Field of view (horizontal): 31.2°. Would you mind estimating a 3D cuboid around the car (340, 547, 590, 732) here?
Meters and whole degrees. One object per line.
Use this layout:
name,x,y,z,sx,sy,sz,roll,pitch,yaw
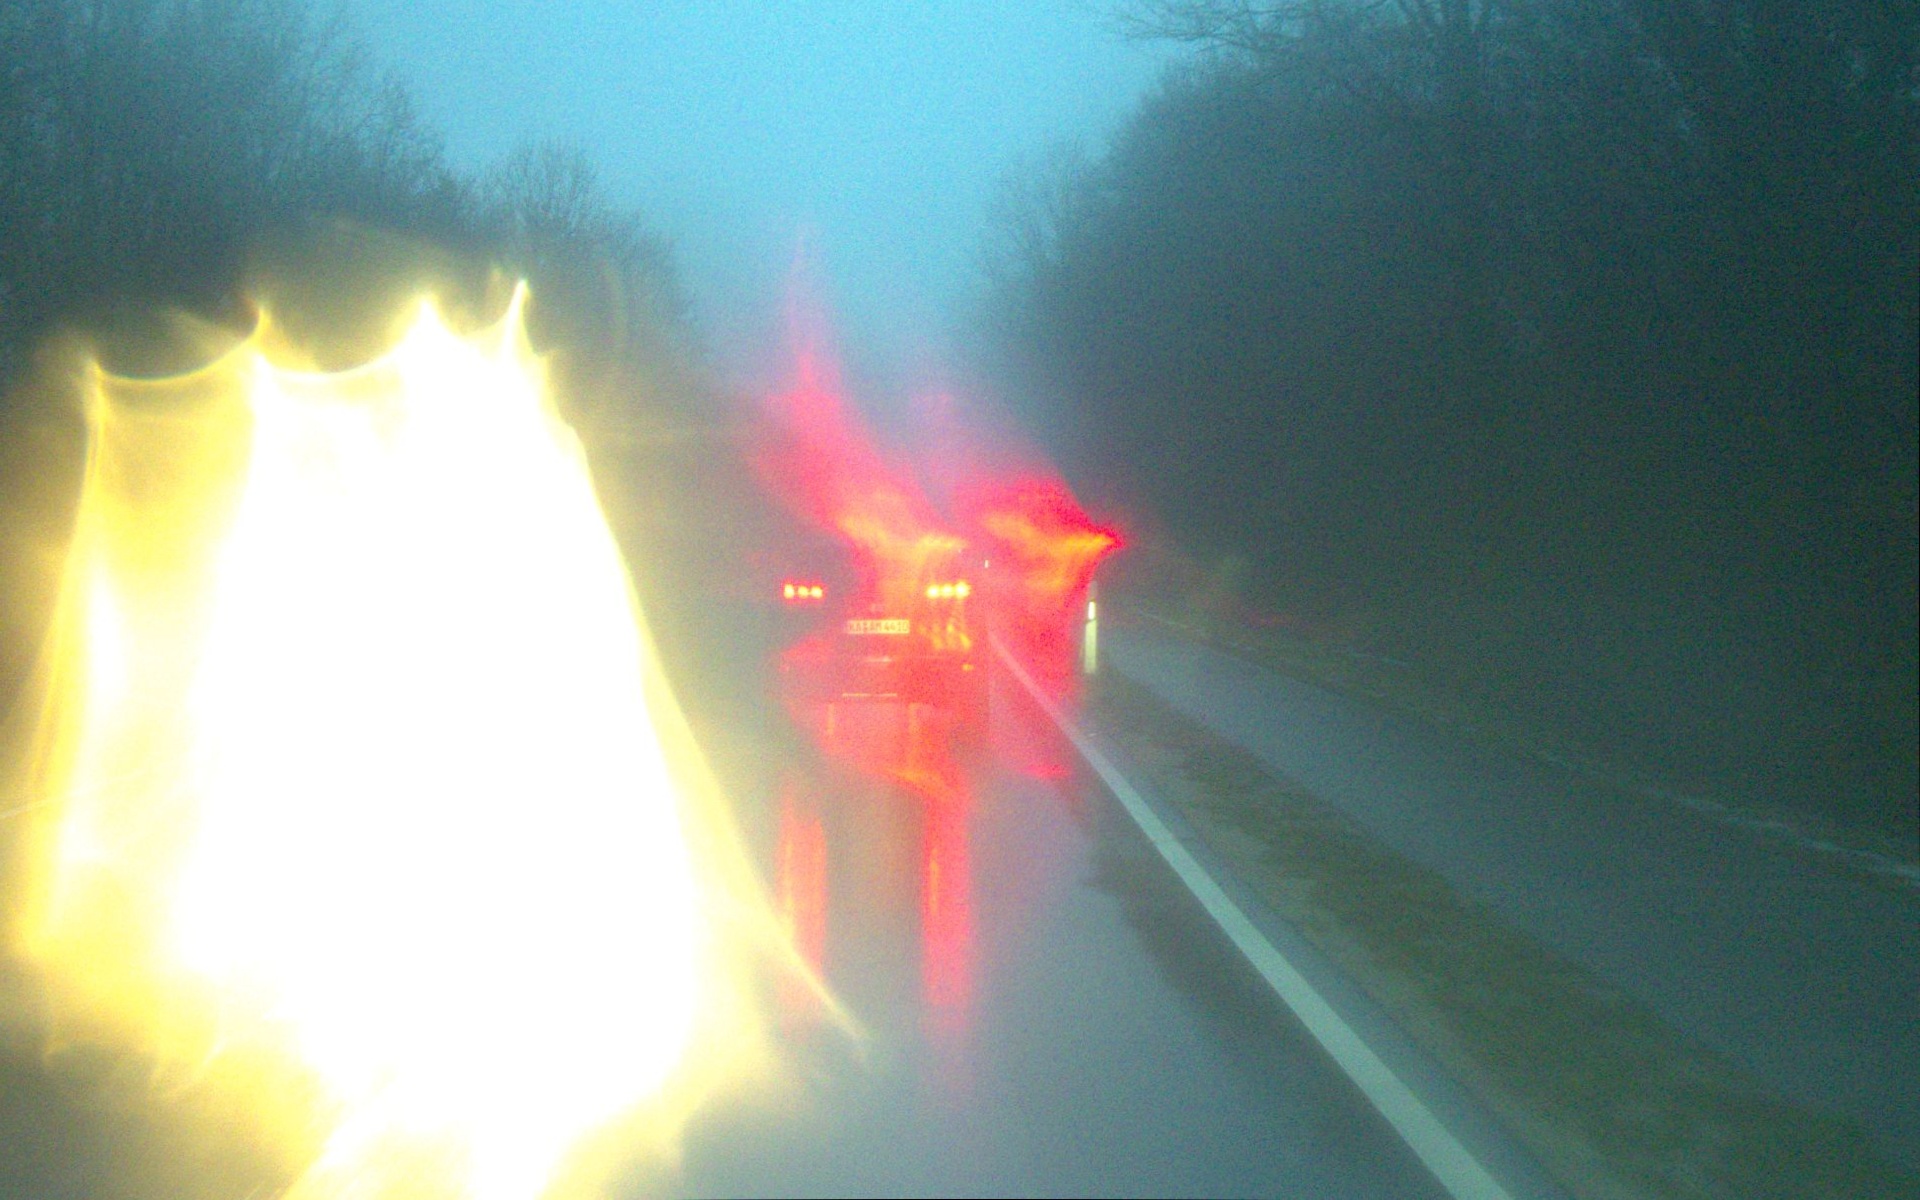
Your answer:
car,-4.067,0.274,28.764,1.618,1.384,4.072,-1,1,-2
